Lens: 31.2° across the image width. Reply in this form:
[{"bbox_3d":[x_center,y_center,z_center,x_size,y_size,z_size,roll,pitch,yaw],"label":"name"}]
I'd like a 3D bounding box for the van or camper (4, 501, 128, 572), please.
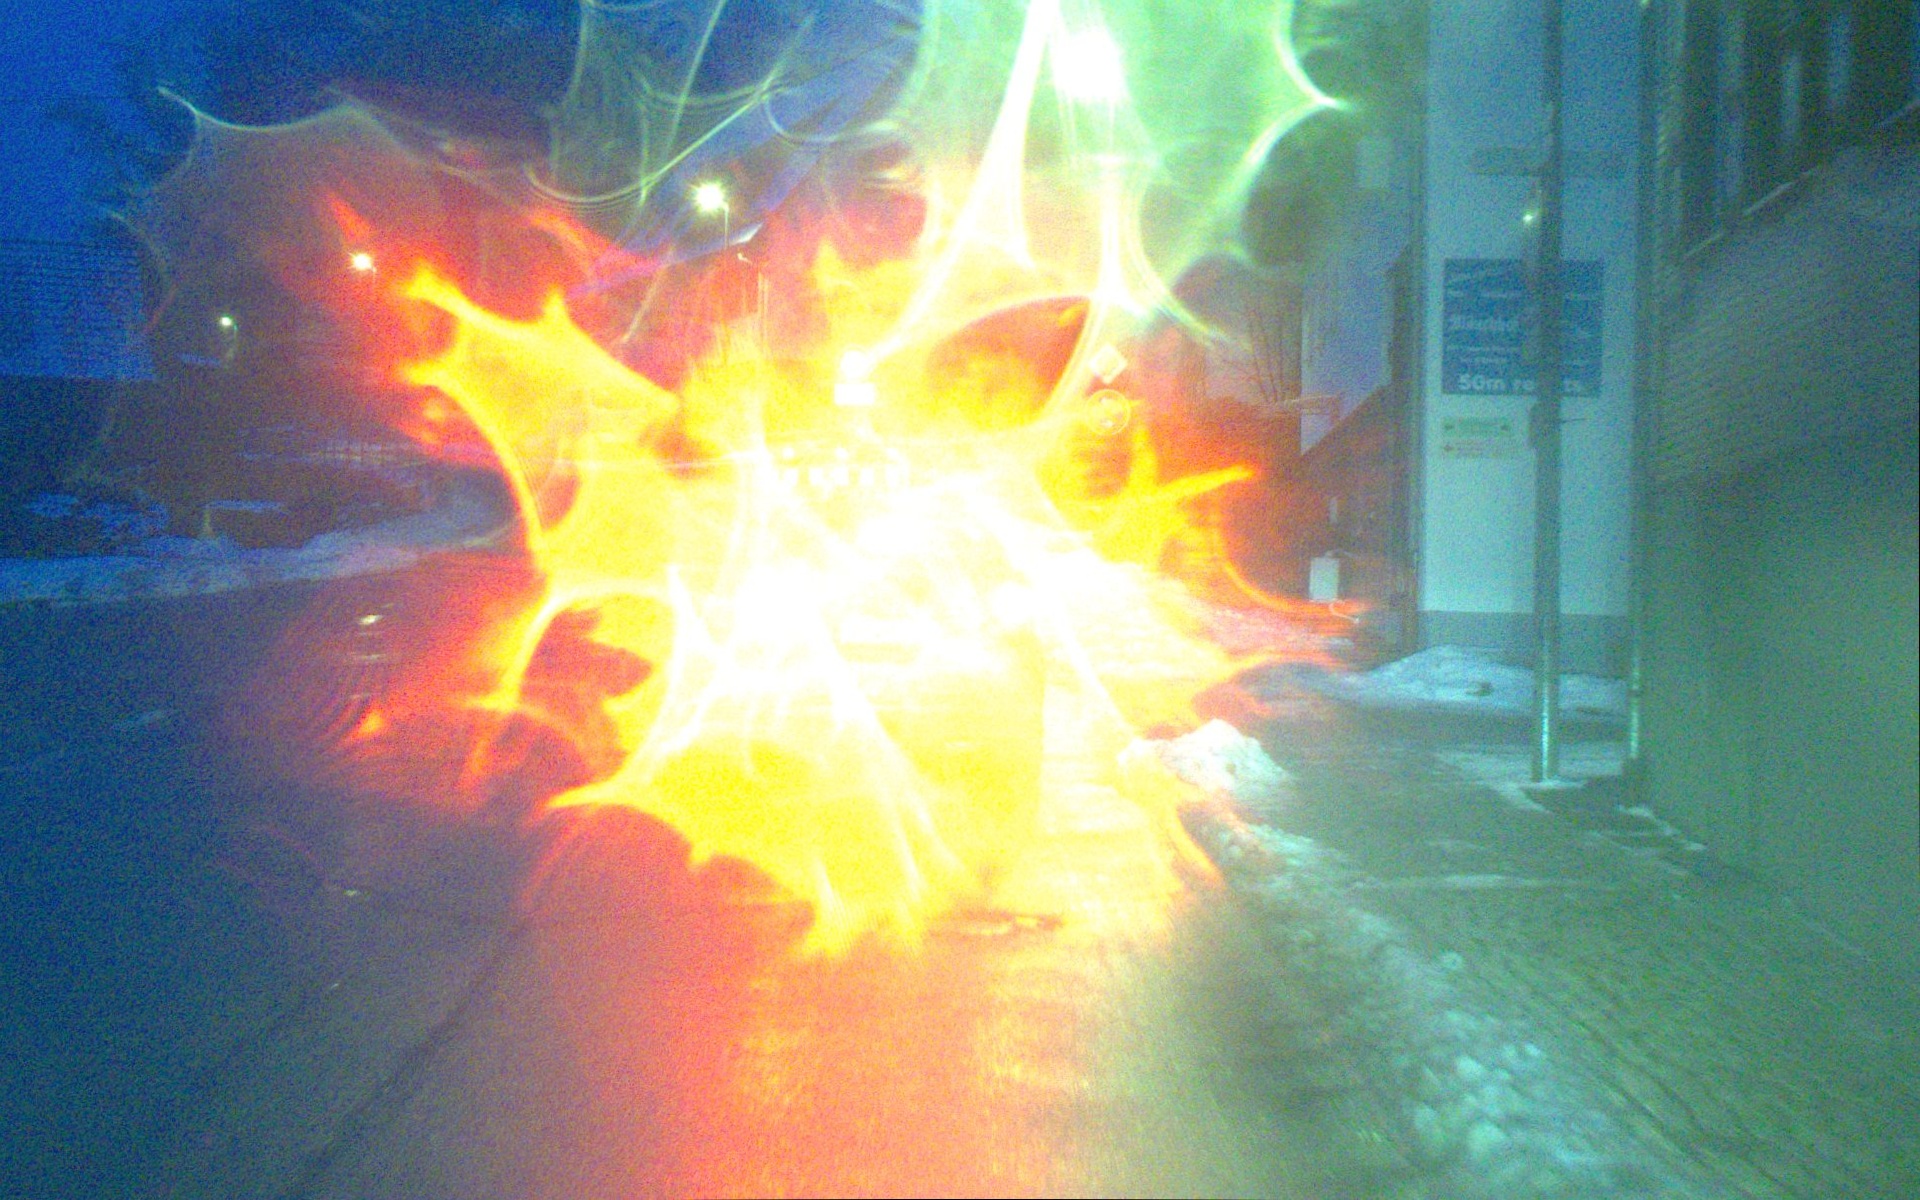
[{"bbox_3d":[-14.693,-1.025,56.431,1.282,1.098,3.273,1,0,-27],"label":"van or camper"}]

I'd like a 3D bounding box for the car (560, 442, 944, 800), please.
[{"bbox_3d":[-1.064,0.050,19.249,1.822,1.790,3.578,-1,2,1],"label":"car"}]
